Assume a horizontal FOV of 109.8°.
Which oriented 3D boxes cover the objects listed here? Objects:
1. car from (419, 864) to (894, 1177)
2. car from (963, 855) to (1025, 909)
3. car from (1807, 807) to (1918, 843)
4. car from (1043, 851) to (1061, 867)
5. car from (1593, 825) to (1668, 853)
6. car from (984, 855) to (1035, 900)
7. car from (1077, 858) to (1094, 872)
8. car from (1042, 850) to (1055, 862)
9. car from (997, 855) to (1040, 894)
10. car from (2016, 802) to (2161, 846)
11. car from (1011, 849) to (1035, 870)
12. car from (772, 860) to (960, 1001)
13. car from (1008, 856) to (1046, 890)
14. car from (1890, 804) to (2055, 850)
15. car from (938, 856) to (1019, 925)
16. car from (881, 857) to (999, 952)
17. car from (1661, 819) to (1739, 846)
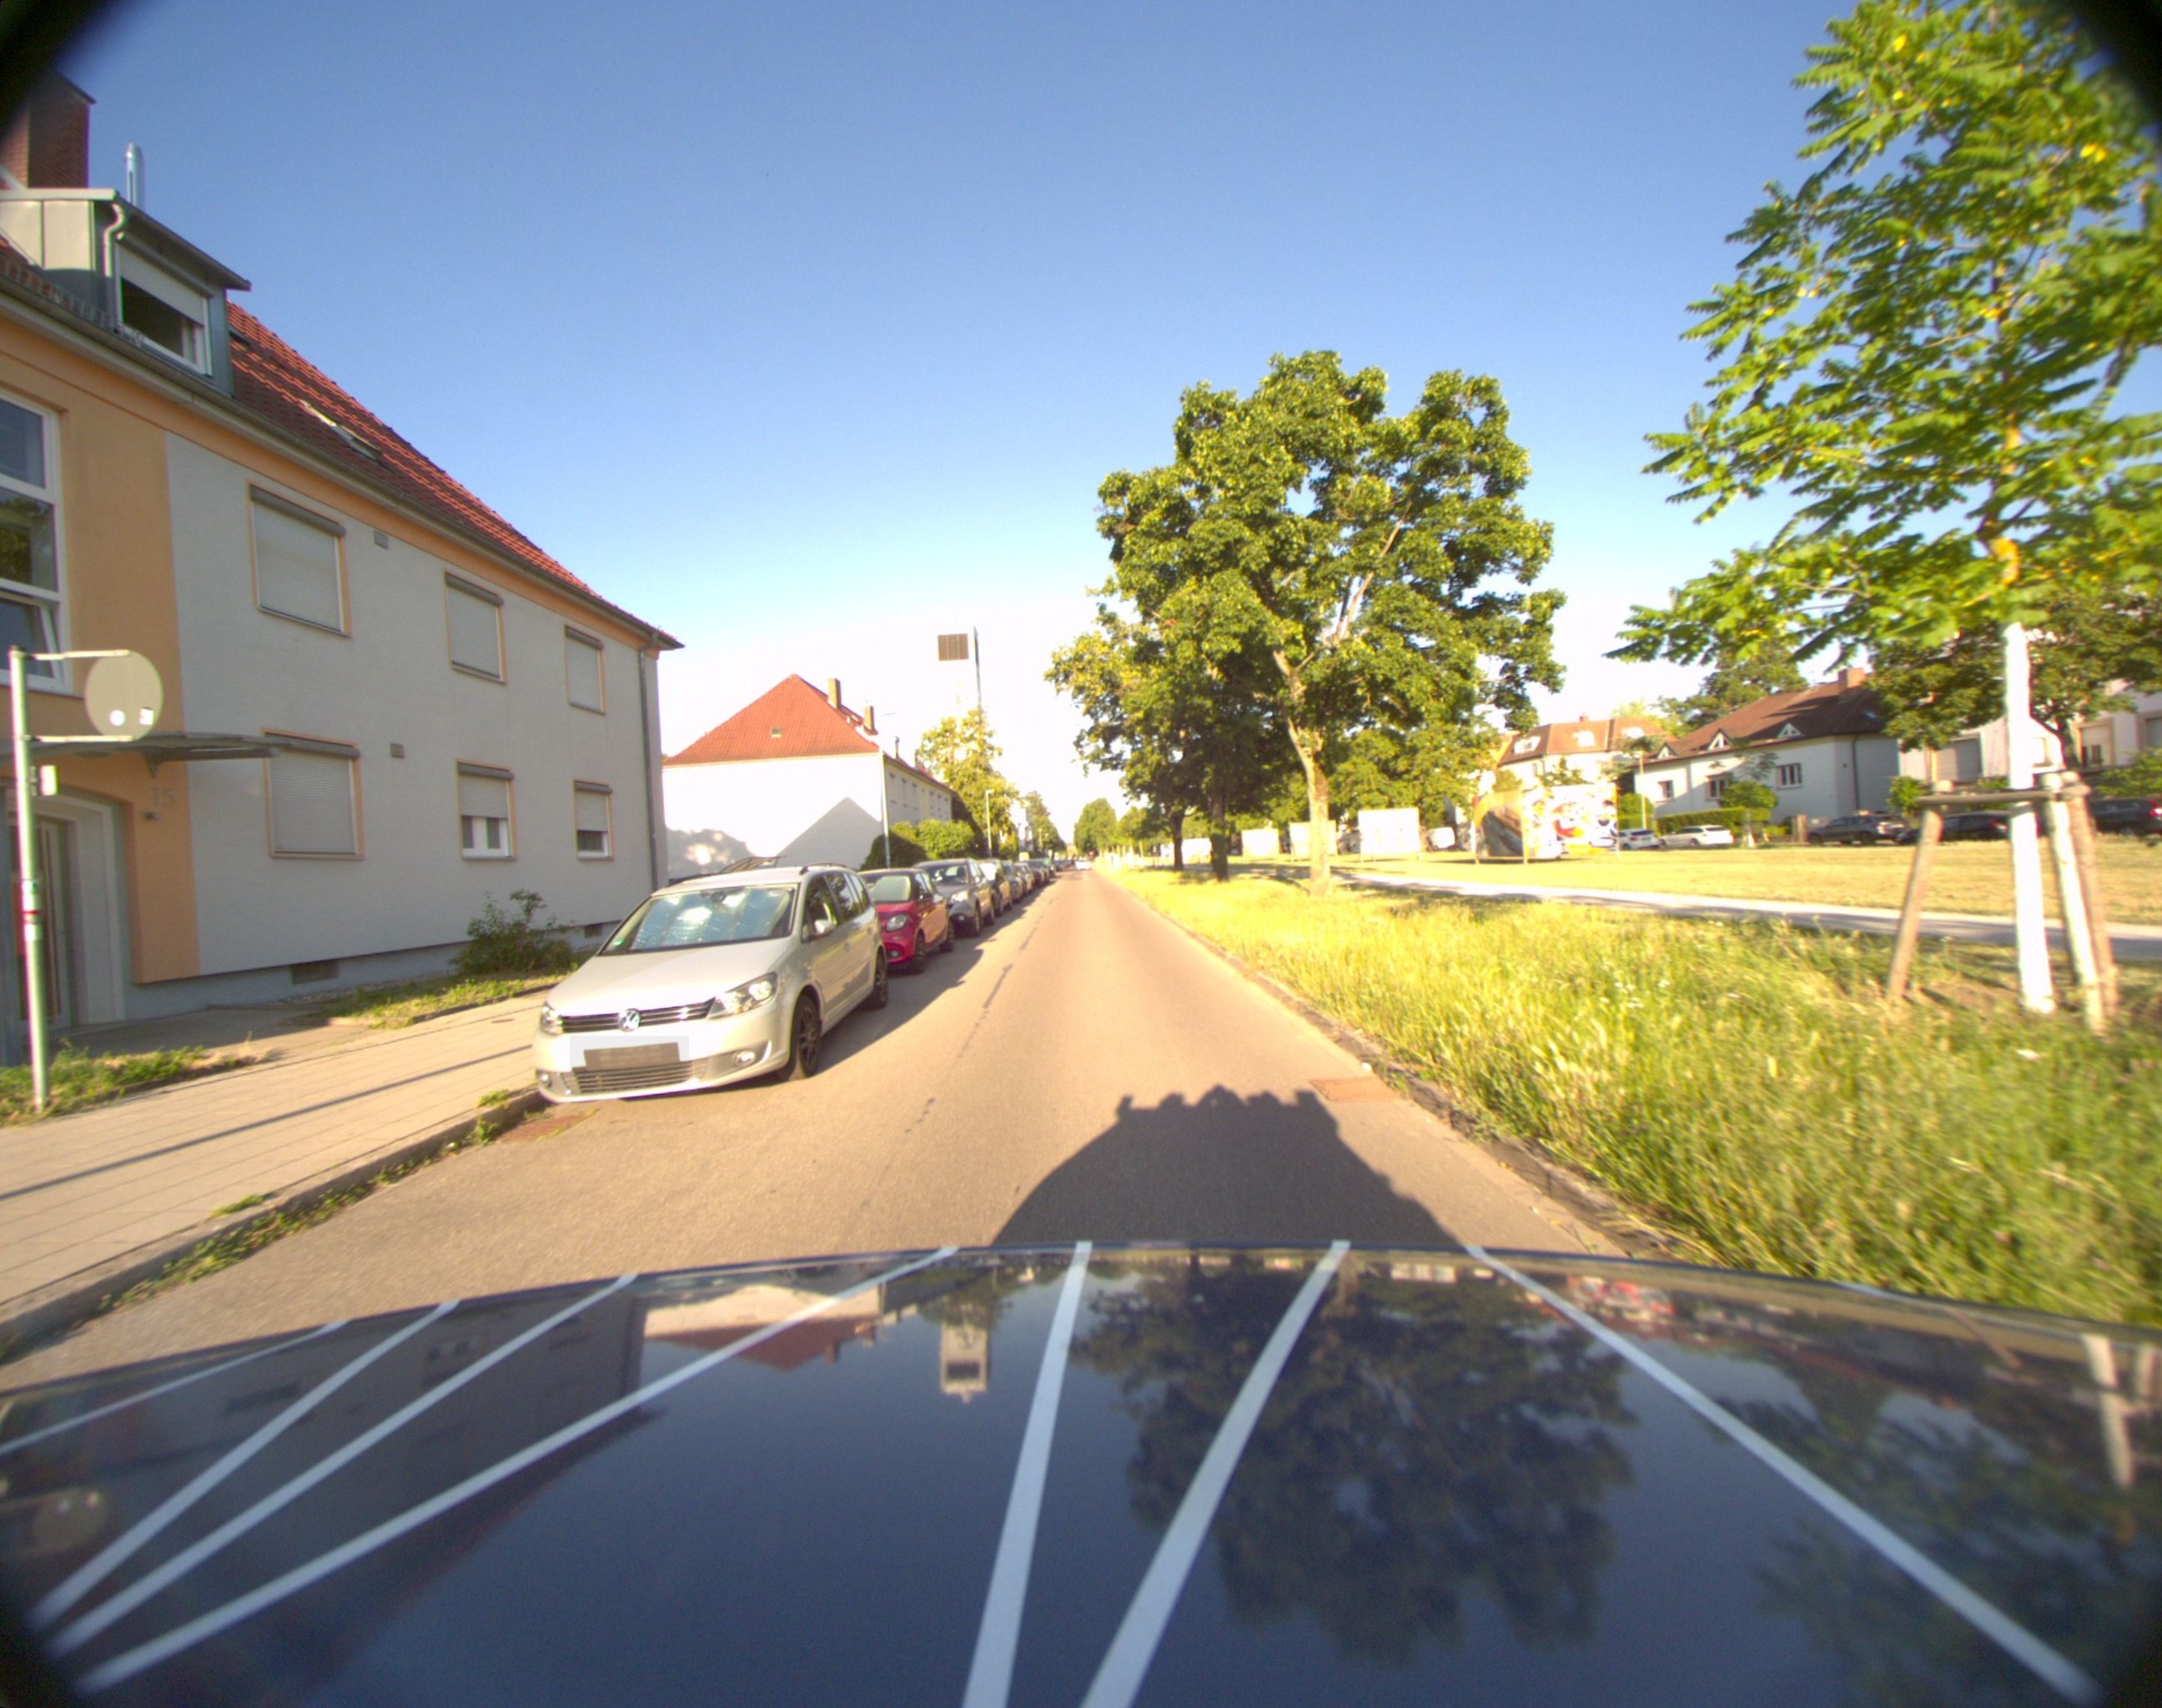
[{"bbox_3d":[-3.070,1.041,6.639,1.850,1.686,3.999,-5,0,-2],"label":"car"},{"bbox_3d":[-3.154,0.983,28.248,1.850,1.686,3.999,-5,0,-2],"label":"car"},{"bbox_3d":[39.988,-1.456,39.020,1.642,1.652,4.000,-3,0,2],"label":"car"},{"bbox_3d":[-3.397,0.510,89.300,1.850,1.686,3.999,-5,0,-2],"label":"car"},{"bbox_3d":[34.250,-0.933,47.493,1.825,1.571,3.836,-3,0,0],"label":"car"},{"bbox_3d":[-3.092,0.981,33.605,1.850,1.686,3.999,-5,0,-2],"label":"car"},{"bbox_3d":[0.562,1.427,99.415,1.870,1.686,4.299,-5,0,-2],"label":"car"},{"bbox_3d":[-4.965,0.305,115.407,1.850,1.686,3.999,-5,0,-2],"label":"car"},{"bbox_3d":[-3.151,1.003,39.121,1.850,1.686,3.999,-5,0,-2],"label":"car"},{"bbox_3d":[40.010,-1.152,29.679,1.825,1.571,4.162,-3,0,0],"label":"car"},{"bbox_3d":[-5.316,0.466,69.657,1.850,1.686,3.999,-5,0,-2],"label":"car"},{"bbox_3d":[-3.203,1.048,12.208,1.850,1.686,3.999,-5,0,-2],"label":"car"},{"bbox_3d":[-3.064,1.031,43.755,1.850,1.686,3.999,-5,0,-2],"label":"car"},{"bbox_3d":[34.310,-0.984,29.409,1.825,1.571,3.836,-3,0,0],"label":"car"},{"bbox_3d":[-2.960,0.998,22.682,1.850,1.686,3.999,-5,0,-2],"label":"car"},{"bbox_3d":[-2.981,0.997,16.914,1.850,1.686,3.999,-5,0,-2],"label":"car"},{"bbox_3d":[40.057,-1.382,49.296,1.825,1.571,3.967,-3,0,0],"label":"car"}]
